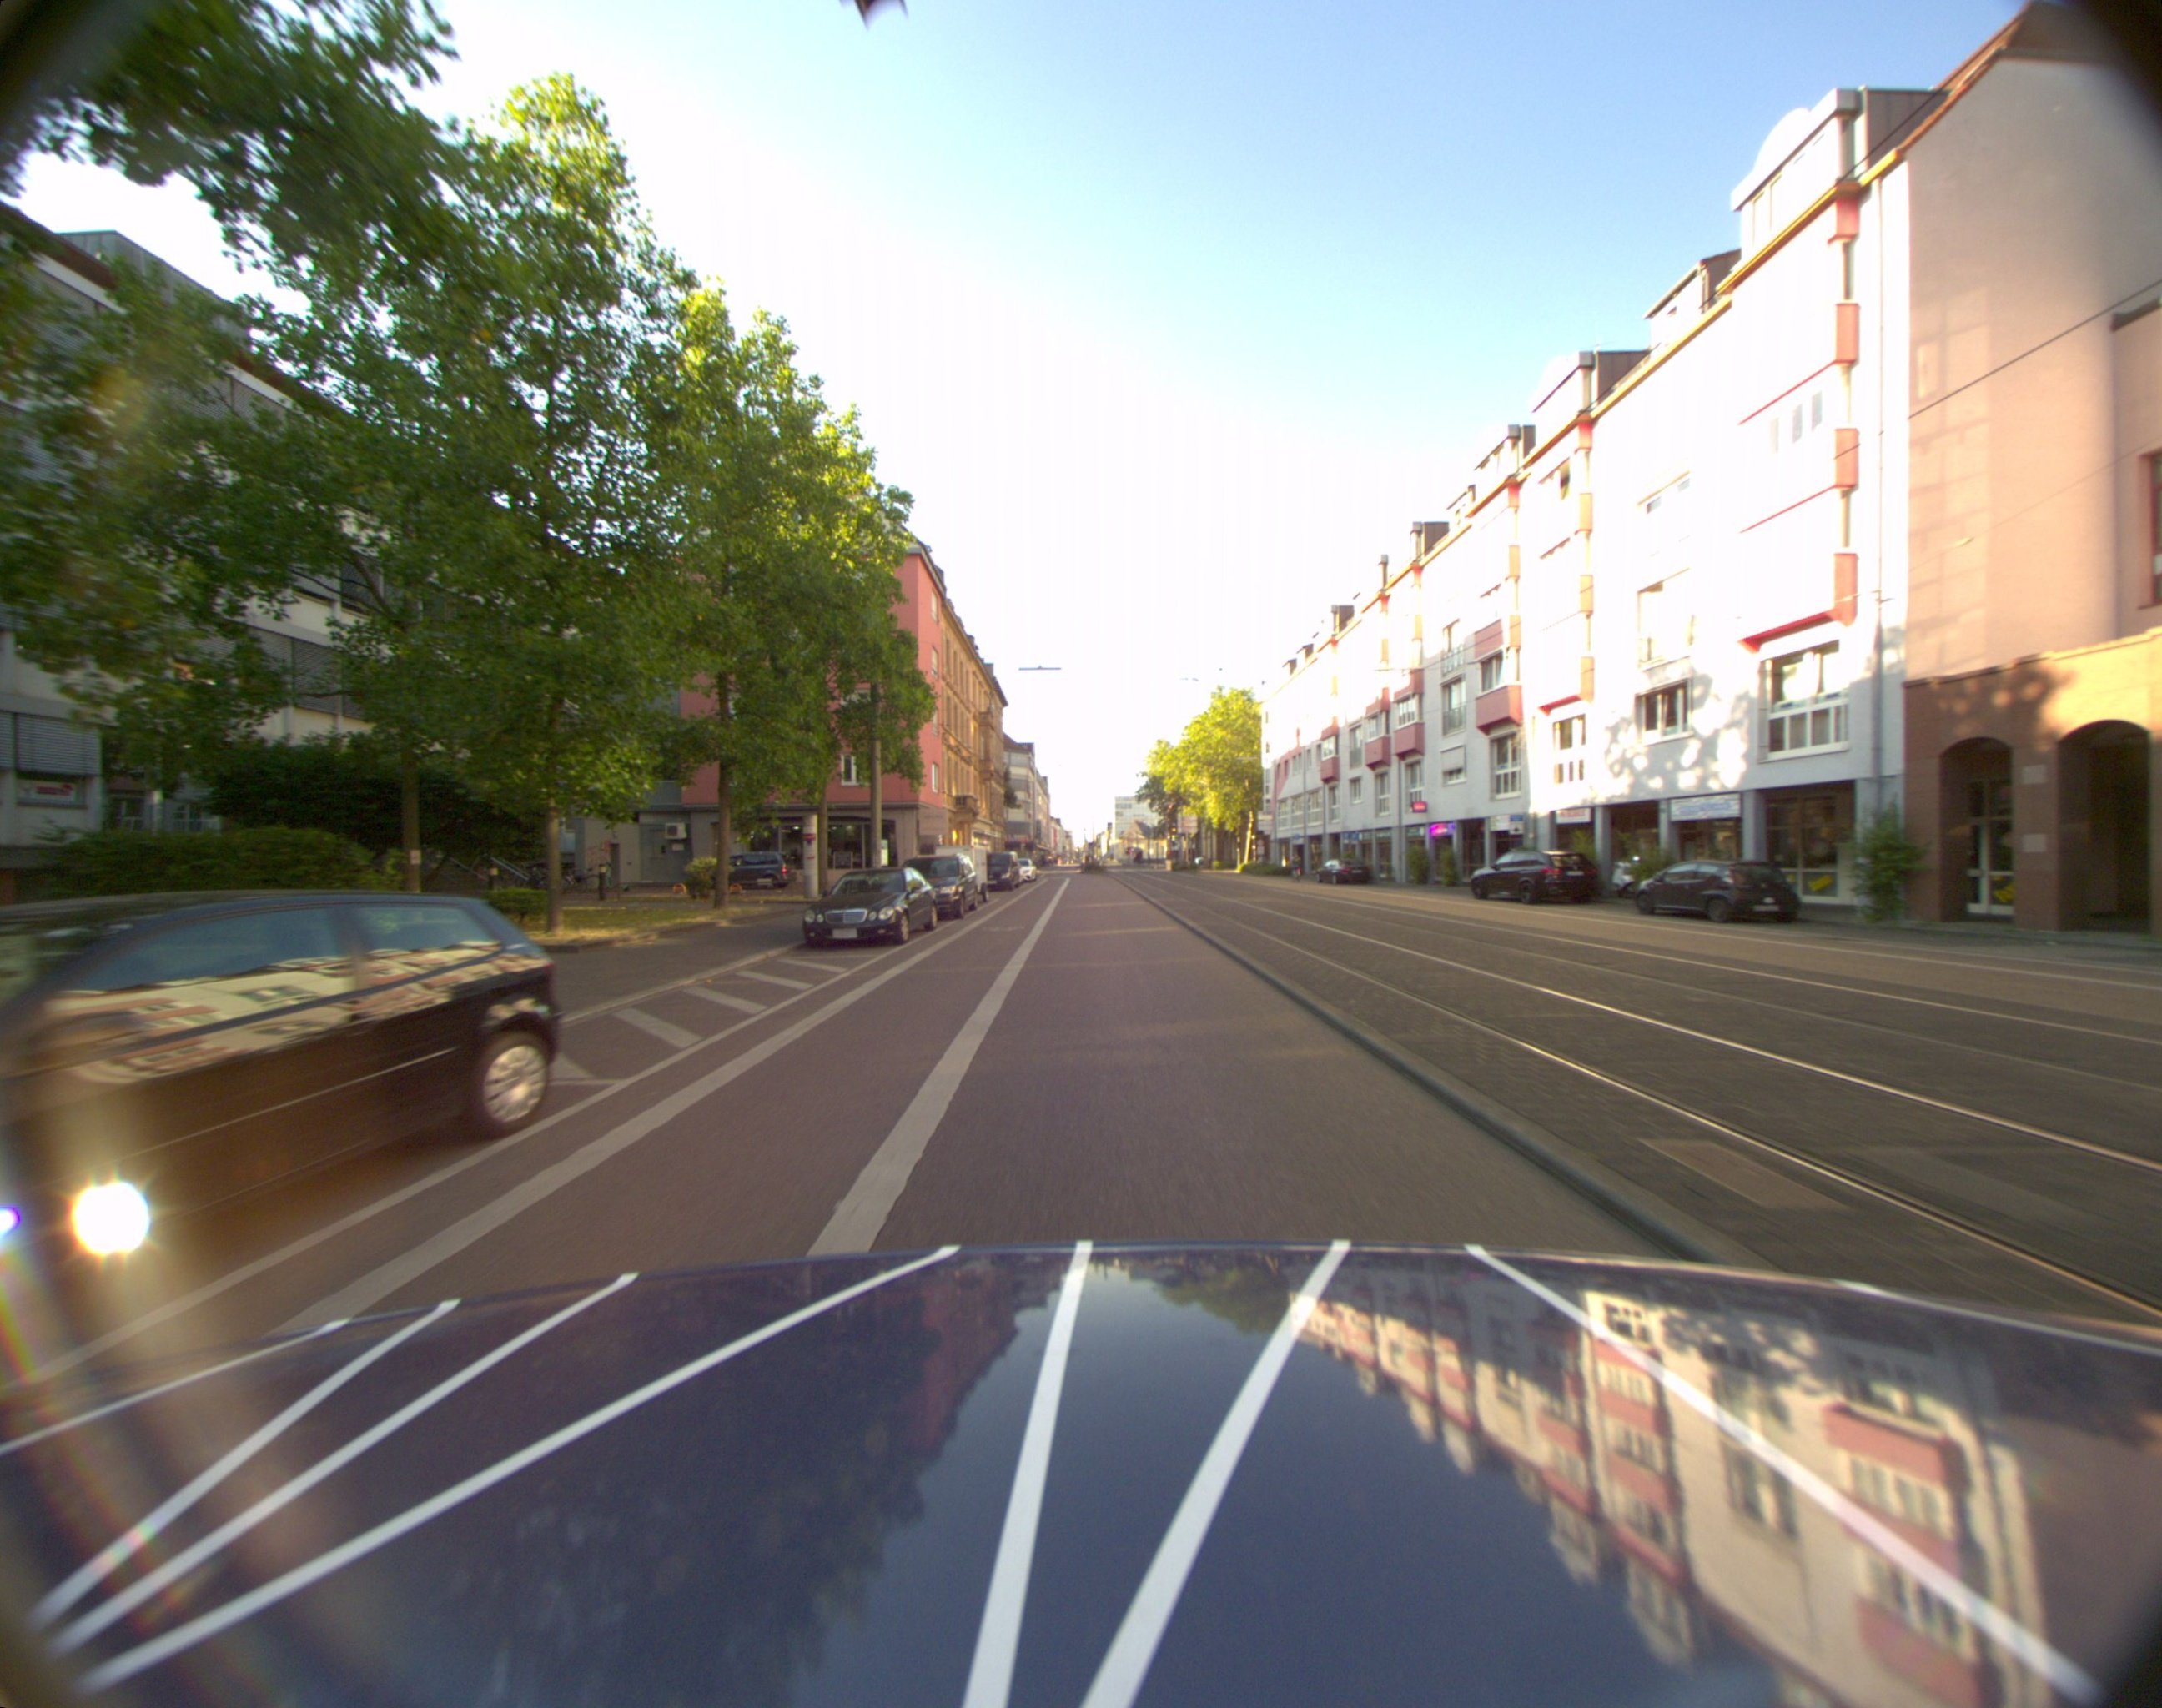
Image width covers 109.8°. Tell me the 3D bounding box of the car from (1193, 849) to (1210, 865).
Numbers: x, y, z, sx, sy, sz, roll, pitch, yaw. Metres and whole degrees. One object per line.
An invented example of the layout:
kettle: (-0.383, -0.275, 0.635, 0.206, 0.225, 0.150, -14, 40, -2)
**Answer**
car: (12.824, 0.325, 80.926, 1.383, 1.664, 2.882, 0, 0, 1)

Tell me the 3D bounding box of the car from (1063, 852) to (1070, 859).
car: (-3.398, 0.336, 176.423, 1.420, 1.612, 3.626, -2, 0, 0)

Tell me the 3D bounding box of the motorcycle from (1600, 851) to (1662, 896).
motorcycle: (16.905, 0.578, 23.412, 0.771, 1.272, 2.139, -2, 0, 14)

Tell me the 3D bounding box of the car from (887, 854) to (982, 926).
car: (-3.993, 0.909, 21.404, 1.784, 1.735, 4.474, -2, 0, -1)

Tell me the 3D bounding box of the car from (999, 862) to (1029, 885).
car: (-3.866, 1.097, 43.959, 1.420, 1.184, 3.086, -2, 0, 0)

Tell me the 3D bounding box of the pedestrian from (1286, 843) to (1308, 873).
pedestrian: (12.976, 0.249, 45.671, 1.096, 1.768, 1.253, 0, 1, 5)

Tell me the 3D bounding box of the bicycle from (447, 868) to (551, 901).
bicycle: (-19.751, 1.027, 25.832, 2.805, 1.052, 0.822, -1, 1, -4)

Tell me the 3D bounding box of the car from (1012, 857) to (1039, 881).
car: (-3.542, 0.944, 49.088, 1.420, 1.425, 3.872, -2, 0, 0)

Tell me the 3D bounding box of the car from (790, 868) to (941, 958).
car: (-4.130, 1.063, 15.282, 1.784, 1.420, 4.212, -2, 0, 0)

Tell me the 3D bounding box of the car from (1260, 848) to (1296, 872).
car: (15.542, 0.460, 60.209, 1.931, 1.787, 4.384, -1, 0, 3)

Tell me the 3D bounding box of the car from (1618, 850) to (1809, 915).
car: (15.271, 0.618, 18.621, 1.646, 1.392, 3.683, -2, 0, 1)

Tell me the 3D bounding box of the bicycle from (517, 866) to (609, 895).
bicycle: (-19.617, 0.989, 28.824, 2.805, 1.052, 0.822, -1, 1, -4)

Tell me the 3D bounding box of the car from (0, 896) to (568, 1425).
car: (-4.125, 1.036, 2.846, 1.597, 1.485, 3.902, -2, 0, 2)

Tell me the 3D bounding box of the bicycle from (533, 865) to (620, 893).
bicycle: (-19.793, 0.984, 29.855, 2.805, 1.052, 0.822, -1, 1, -4)

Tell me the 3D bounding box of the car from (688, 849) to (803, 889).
car: (-14.942, 0.650, 33.996, 4.368, 1.662, 1.588, 2, 0, -4)

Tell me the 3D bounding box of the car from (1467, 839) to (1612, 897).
car: (15.119, 0.425, 25.393, 1.964, 1.690, 4.560, -2, 0, -1)

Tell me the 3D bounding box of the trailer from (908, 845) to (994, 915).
trailer: (-4.345, 0.787, 26.296, 1.783, 2.136, 5.316, -2, 0, 3)

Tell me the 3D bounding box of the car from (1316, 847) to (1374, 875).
car: (15.282, 0.383, 44.238, 1.829, 1.500, 4.560, -2, 0, 0)

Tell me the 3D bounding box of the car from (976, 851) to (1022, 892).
car: (-3.962, 0.777, 37.359, 1.697, 1.832, 4.695, -2, 0, 0)
